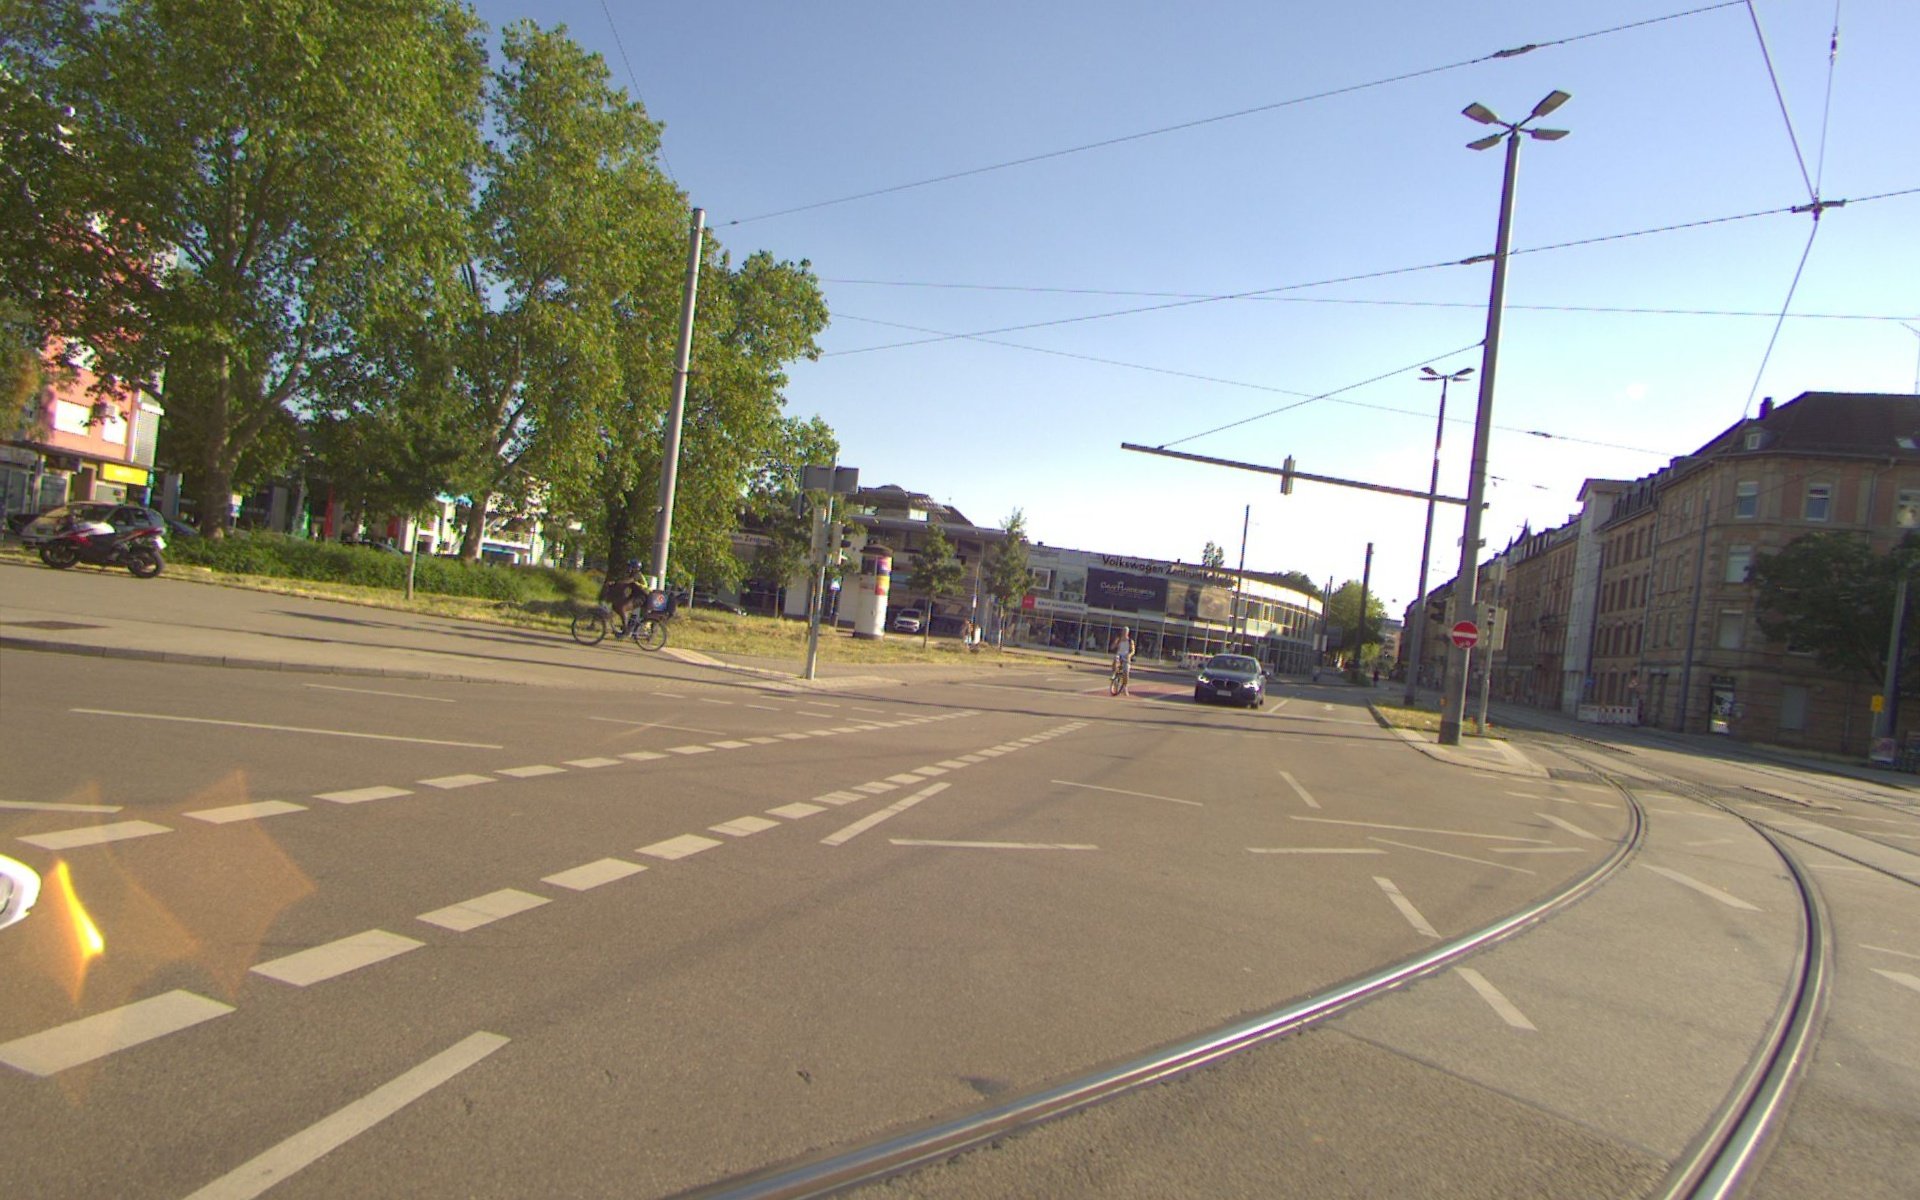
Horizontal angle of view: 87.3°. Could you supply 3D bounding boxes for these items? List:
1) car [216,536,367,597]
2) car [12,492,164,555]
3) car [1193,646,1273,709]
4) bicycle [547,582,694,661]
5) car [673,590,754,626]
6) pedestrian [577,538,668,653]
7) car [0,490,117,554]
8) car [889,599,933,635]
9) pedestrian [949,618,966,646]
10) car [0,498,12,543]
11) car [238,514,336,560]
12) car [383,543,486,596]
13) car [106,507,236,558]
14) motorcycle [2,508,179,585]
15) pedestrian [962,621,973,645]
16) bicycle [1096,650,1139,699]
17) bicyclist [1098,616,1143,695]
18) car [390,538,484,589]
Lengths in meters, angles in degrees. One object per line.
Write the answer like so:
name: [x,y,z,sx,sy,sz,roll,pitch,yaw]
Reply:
car: [-21.766,-1.038,32.922,3.958,1.527,1.788,5,-4,-33]
car: [-34.059,-2.964,39.414,3.938,1.654,1.852,10,0,-12]
car: [8.027,2.227,29.454,1.962,1.470,4.002,7,-1,17]
bicycle: [-6.799,0.436,20.188,2.507,1.136,1.025,10,0,-32]
car: [-14.448,0.482,58.998,4.089,1.352,1.755,10,0,9]
pedestrian: [-6.759,-0.095,20.117,1.258,2.037,1.025,9,1,-32]
car: [-33.312,-2.865,36.244,3.938,1.654,1.852,10,0,-12]
car: [-3.301,1.211,68.319,1.962,2.037,4.003,10,0,8]
pedestrian: [-0.148,1.817,57.466,0.710,1.534,0.831,7,0,-4]
car: [-33.201,-2.909,31.972,3.938,1.436,1.852,10,0,-12]
car: [-37.468,-3.499,56.099,3.938,1.801,1.852,10,0,-12]
car: [-25.826,-1.495,49.568,3.940,1.890,1.850,10,0,-14]
car: [-34.563,-2.923,44.162,3.938,1.436,1.852,10,0,-12]
motorcycle: [-16.283,-1.004,18.942,2.256,1.087,1.033,8,1,-28]
pedestrian: [0.427,1.901,57.519,0.404,1.331,0.572,7,0,-4]
bicycle: [4.299,2.012,27.605,1.014,1.137,2.533,5,-1,8]
bicyclist: [4.400,1.514,27.612,1.014,2.038,1.145,5,0,8]
car: [-28.246,-1.942,54.438,3.940,2.023,1.850,10,0,-14]
